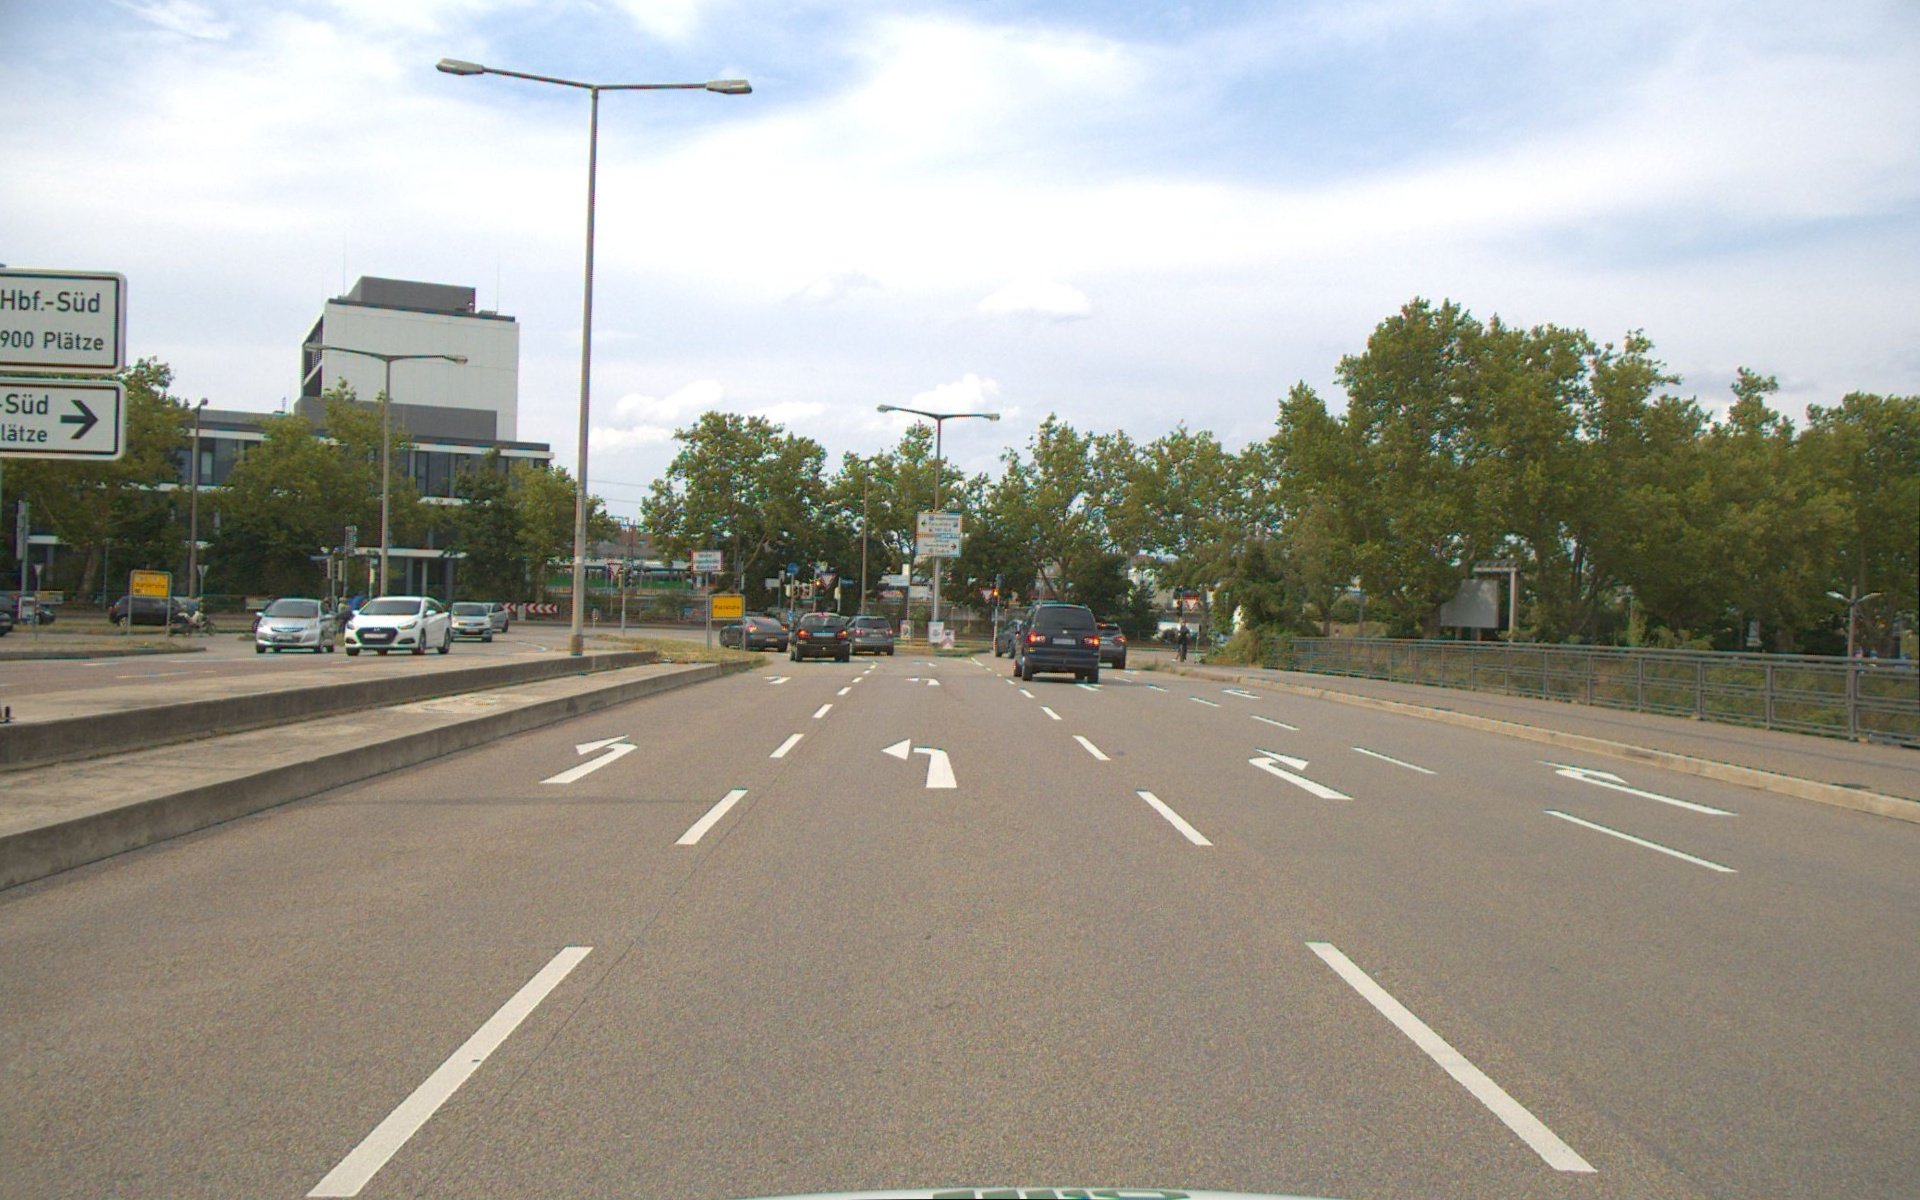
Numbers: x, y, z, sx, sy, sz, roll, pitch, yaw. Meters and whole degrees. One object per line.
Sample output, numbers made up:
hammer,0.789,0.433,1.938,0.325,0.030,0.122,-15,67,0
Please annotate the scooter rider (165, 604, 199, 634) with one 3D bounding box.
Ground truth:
scooter rider,-30.252,0.735,64.289,0.792,1.157,0.914,1,0,34

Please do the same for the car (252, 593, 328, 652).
car,-18.892,0.595,46.624,1.893,1.553,4.847,0,0,-23

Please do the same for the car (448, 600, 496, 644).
car,-19.450,0.887,65.870,1.715,1.688,4.057,0,-1,-18

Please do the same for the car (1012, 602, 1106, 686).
car,2.226,1.006,38.299,1.715,1.755,4.136,3,-1,-2

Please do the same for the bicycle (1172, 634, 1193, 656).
bicycle,10.023,2.019,74.584,0.791,0.969,2.237,1,-1,11

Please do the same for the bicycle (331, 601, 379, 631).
bicycle,-25.608,0.694,70.005,1.877,1.231,0.638,1,0,-25

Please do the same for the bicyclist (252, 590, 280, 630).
bicyclist,-27.895,0.403,66.445,0.618,1.556,0.835,1,0,44

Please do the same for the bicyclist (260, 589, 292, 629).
bicyclist,-27.213,0.369,65.792,1.011,1.566,0.619,2,0,-42

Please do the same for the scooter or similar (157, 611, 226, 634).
scooter or similar,-30.014,0.890,64.644,0.792,0.864,2.379,1,0,34

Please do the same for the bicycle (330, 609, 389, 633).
bicycle,-24.322,0.854,67.014,0.794,0.969,2.230,1,-1,31

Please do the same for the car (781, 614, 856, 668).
car,-4.699,1.313,54.500,1.728,1.603,4.019,2,0,-16

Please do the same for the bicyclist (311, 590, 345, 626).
bicyclist,-26.073,0.316,68.247,0.635,1.461,1.112,1,0,37

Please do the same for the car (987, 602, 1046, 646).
car,2.218,0.965,65.594,1.658,1.613,4.150,3,-1,-7

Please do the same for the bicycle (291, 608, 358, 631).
bicycle,-26.148,0.816,68.133,0.691,0.905,2.580,1,0,38

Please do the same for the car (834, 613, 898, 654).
car,-3.796,1.335,66.368,1.712,1.573,4.064,1,-1,-16

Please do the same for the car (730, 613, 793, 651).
car,-8.258,1.321,68.463,1.789,1.439,4.755,2,-1,-16

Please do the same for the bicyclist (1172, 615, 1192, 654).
bicyclist,10.043,1.542,74.639,0.793,1.726,1.116,1,-1,12

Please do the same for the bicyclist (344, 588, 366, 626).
bicyclist,-25.603,0.291,69.992,0.769,1.609,0.650,1,0,-25

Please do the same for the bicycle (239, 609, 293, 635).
bicycle,-27.872,0.877,66.472,0.618,1.031,1.894,1,0,44

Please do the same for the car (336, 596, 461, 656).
car,-14.229,0.629,42.193,1.881,1.440,4.876,0,0,-5

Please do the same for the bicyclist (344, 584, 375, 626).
bicyclist,-24.327,0.221,67.001,0.794,1.685,0.881,0,-1,31

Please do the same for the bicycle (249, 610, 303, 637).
bicycle,-27.212,0.926,65.809,1.891,1.031,0.619,2,0,-43

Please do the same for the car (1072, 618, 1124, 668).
car,4.971,1.563,59.967,1.714,1.672,4.139,3,-1,3

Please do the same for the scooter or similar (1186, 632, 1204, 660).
scooter or similar,9.967,1.949,70.087,0.389,1.204,1.278,1,-2,-8

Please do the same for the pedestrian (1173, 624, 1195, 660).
pedestrian,11.164,2.063,82.382,1.025,1.740,0.854,2,-1,9
